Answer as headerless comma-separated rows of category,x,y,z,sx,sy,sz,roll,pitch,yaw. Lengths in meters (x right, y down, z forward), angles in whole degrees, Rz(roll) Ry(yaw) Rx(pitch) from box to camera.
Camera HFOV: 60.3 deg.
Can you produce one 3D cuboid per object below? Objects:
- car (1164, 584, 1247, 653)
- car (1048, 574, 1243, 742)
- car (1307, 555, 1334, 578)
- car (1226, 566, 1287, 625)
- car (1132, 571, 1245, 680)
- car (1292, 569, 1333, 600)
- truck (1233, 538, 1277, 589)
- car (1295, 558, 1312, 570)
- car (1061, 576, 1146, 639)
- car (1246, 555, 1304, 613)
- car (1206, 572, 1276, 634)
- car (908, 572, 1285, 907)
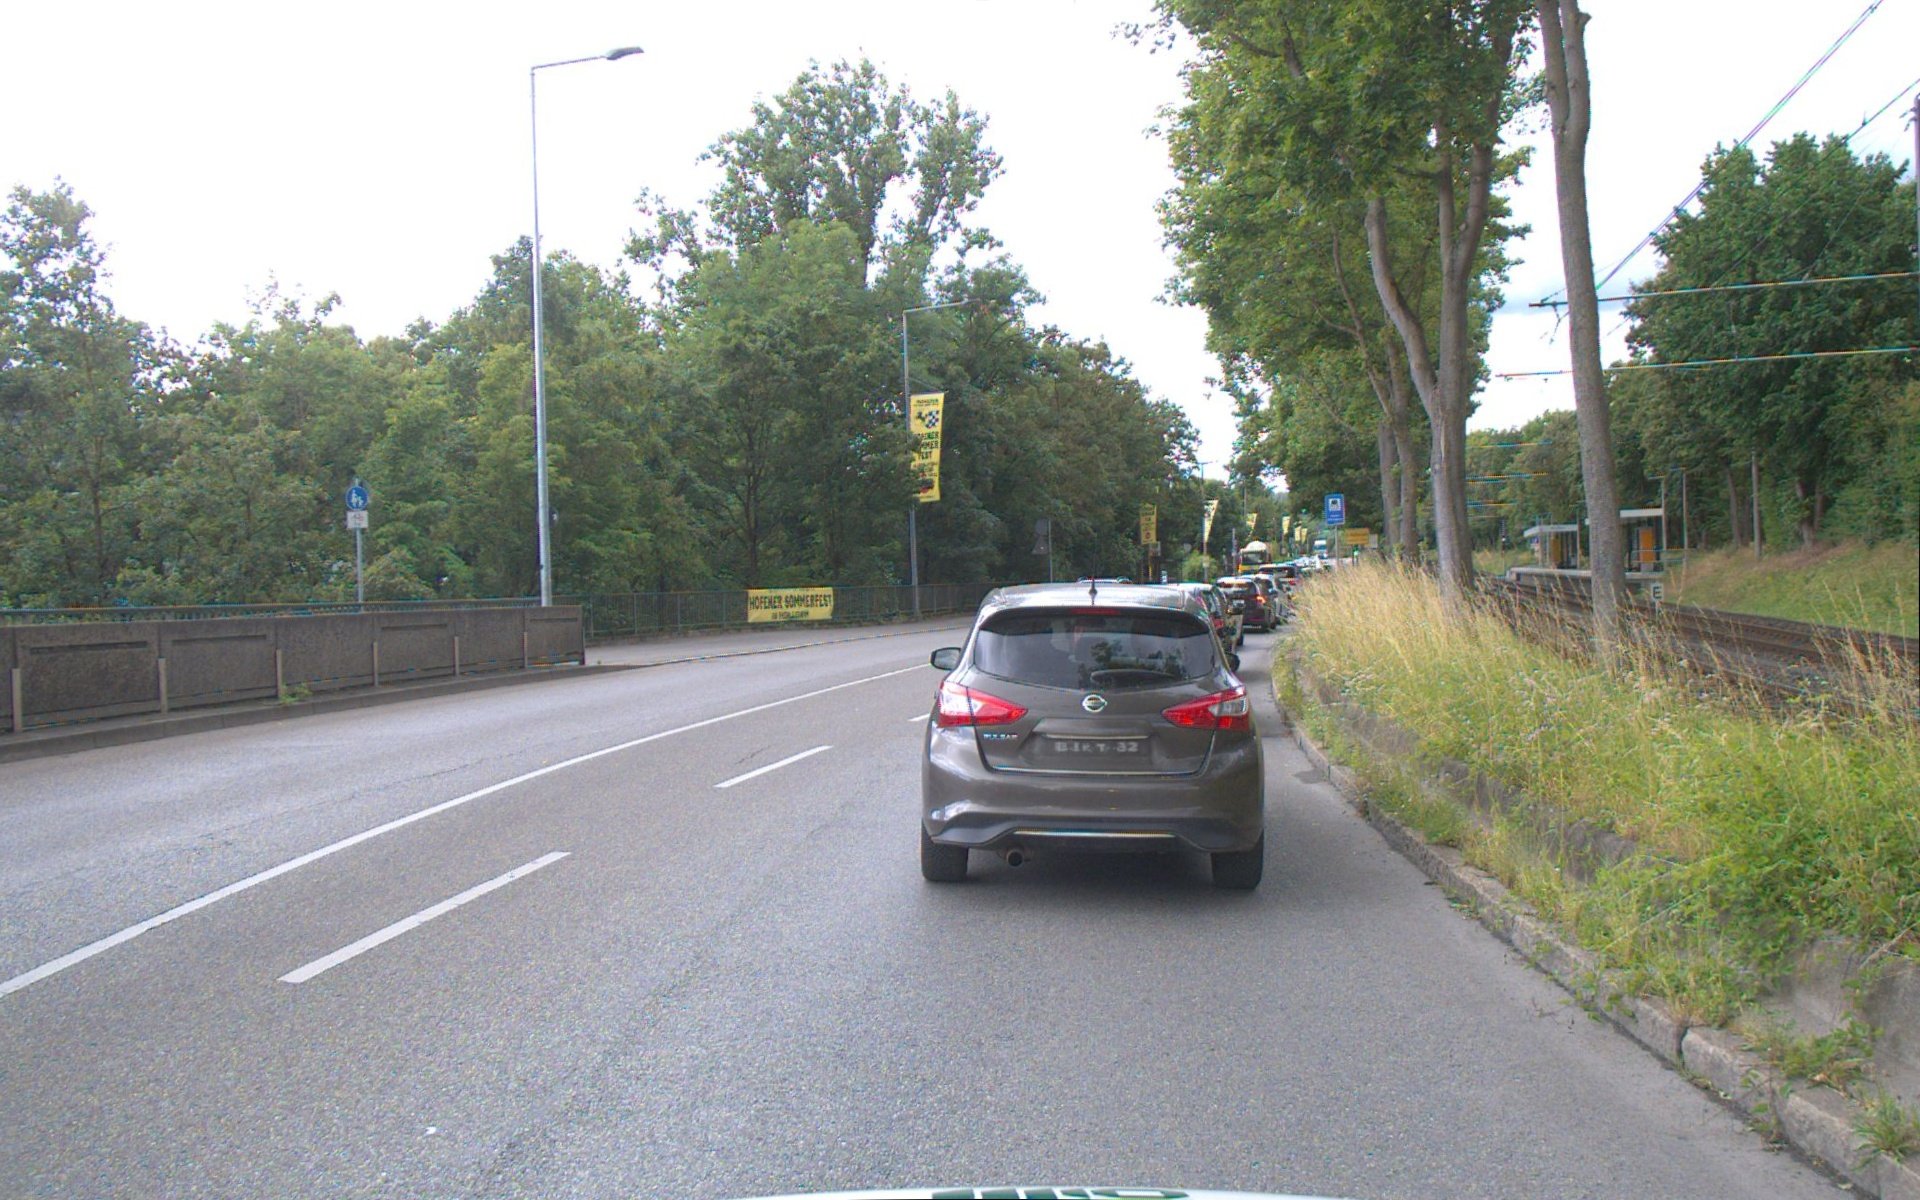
car,5.399,0.376,36.111,1.468,1.388,3.590,-2,0,13
car,2.016,0.569,17.868,1.852,1.601,4.003,0,-1,7
car,27.333,-2.502,125.463,1.850,1.682,4.003,-1,0,14
car,9.263,-0.165,51.464,1.681,1.722,4.004,-2,1,12
car,3.712,0.371,26.412,1.544,1.565,4.003,-2,0,11
car,17.745,-0.781,83.272,1.850,1.470,3.810,-1,0,14
truck,24.620,-2.984,137.708,2.598,4.007,10.118,0,1,15
car,42.957,-4.478,206.813,1.779,1.488,4.003,-1,1,15
car,3.755,0.188,42.671,1.812,1.512,4.424,-1,-1,9
car,11.665,-0.609,61.118,1.850,2.049,4.003,-1,0,14
car,7.557,0.074,44.345,1.766,1.567,4.003,1,0,10
car,0.893,0.651,9.670,1.737,1.520,4.003,0,0,8
